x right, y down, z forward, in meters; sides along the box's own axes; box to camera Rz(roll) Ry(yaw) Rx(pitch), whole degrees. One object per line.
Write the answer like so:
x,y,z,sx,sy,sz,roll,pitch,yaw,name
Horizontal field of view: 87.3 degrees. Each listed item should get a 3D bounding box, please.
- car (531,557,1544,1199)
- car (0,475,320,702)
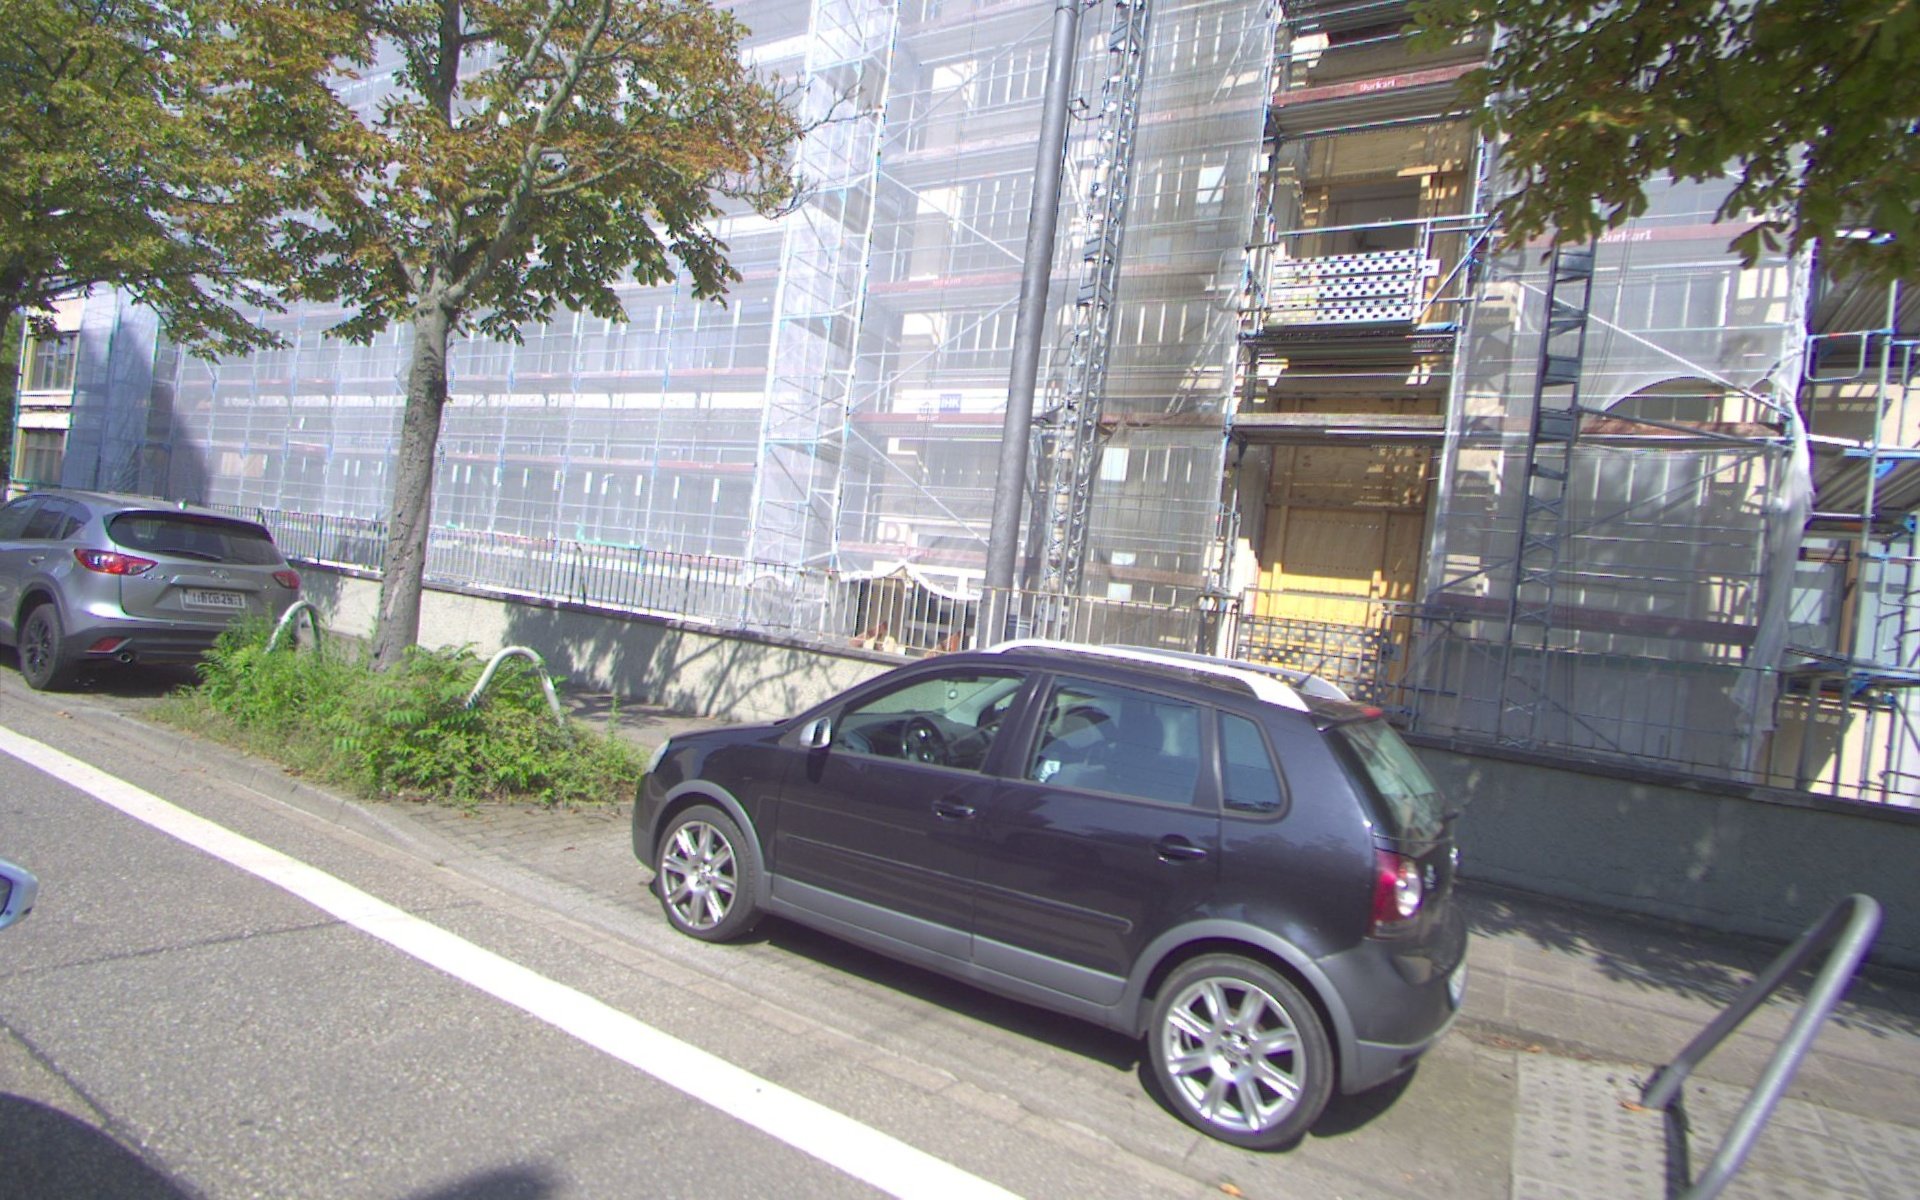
0.177,0.876,4.593,4.117,1.603,1.637,7,-1,30,car
-8.306,-0.197,9.631,4.287,1.688,1.744,7,-1,30,car
